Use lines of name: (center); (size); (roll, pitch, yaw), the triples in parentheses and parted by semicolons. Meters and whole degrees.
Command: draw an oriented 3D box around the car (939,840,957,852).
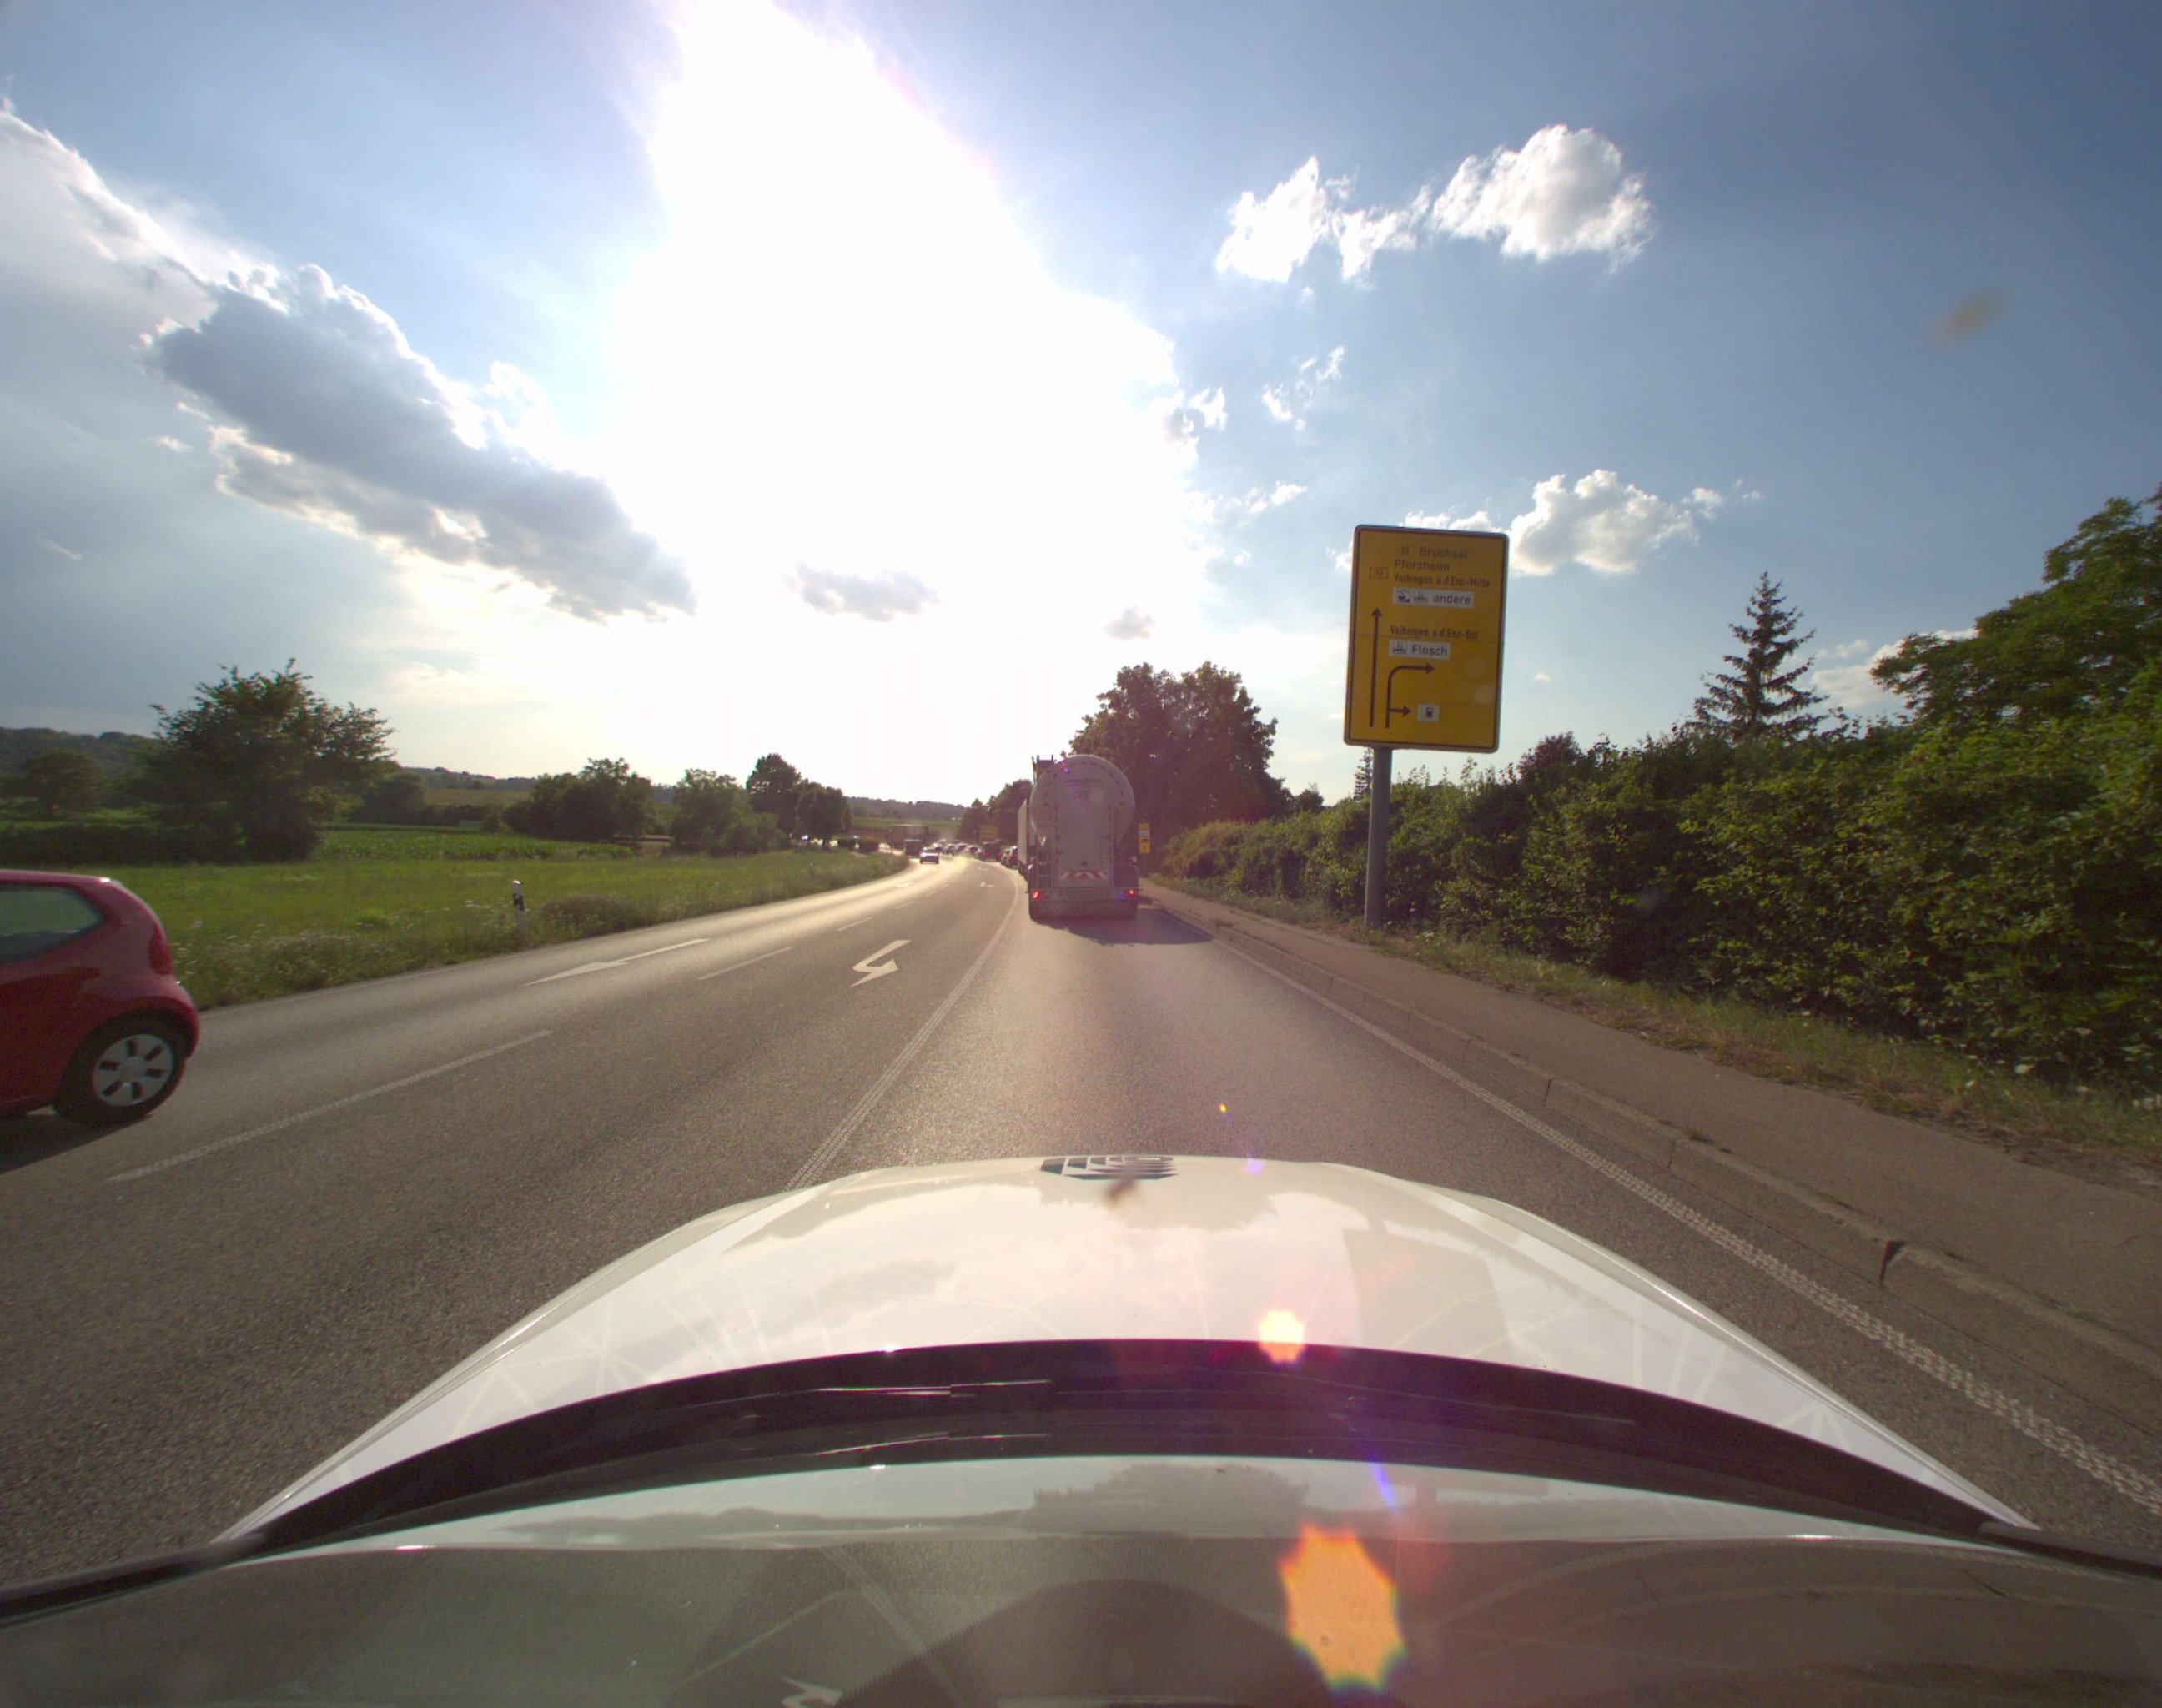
car: (-23.143, -1.373, 141.706); (2.004, 2.013, 3.967); (0, 1, -26)

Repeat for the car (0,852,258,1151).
car: (-6.097, 0.746, 3.455); (1.581, 1.466, 3.604); (-1, 0, -2)

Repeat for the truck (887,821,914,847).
truck: (-31.950, -3.480, 144.237); (3.392, 4.350, 5.659); (1, 0, -25)

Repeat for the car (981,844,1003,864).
car: (-9.369, -0.040, 85.246); (1.863, 2.013, 3.703); (0, 0, -13)

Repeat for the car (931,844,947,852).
car: (-20.899, -0.905, 119.761); (1.775, 1.205, 3.403); (1, 0, -19)

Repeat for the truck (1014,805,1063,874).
truck: (-2.747, -0.916, 53.572); (2.944, 4.303, 4.927); (1, 0, -2)

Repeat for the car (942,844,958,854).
car: (-18.227, -0.688, 113.411); (1.585, 1.340, 3.403); (1, 0, -19)

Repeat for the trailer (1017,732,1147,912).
trailer: (-0.160, -0.733, 23.133); (2.902, 4.006, 9.921); (0, 0, -2)

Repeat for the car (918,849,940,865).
car: (-13.981, 0.228, 75.210); (1.705, 1.428, 4.167); (0, 0, -7)

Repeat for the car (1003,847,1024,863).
car: (-5.910, 0.078, 71.007); (1.579, 1.340, 3.417); (1, 0, -7)

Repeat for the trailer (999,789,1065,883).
trailer: (-2.477, -0.878, 44.716); (2.947, 4.315, 14.165); (1, 0, -2)

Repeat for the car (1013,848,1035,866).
car: (-4.386, 0.236, 62.594); (1.578, 1.340, 3.419); (1, 0, -5)

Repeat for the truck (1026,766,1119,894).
truck: (-0.337, -0.770, 27.540); (2.902, 4.006, 4.056); (0, 0, -2)

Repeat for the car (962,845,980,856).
car: (-13.419, -0.431, 99.355); (1.585, 1.340, 3.403); (1, 0, -19)

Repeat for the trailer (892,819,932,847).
trailer: (-28.492, -3.436, 136.859); (3.392, 4.350, 14.176); (1, 0, -25)

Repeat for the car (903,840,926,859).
car: (-19.811, -0.552, 97.030); (2.005, 2.136, 4.747); (0, 0, -20)

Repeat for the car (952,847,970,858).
car: (-15.532, -0.229, 105.340); (1.585, 1.340, 3.403); (1, 0, -19)
